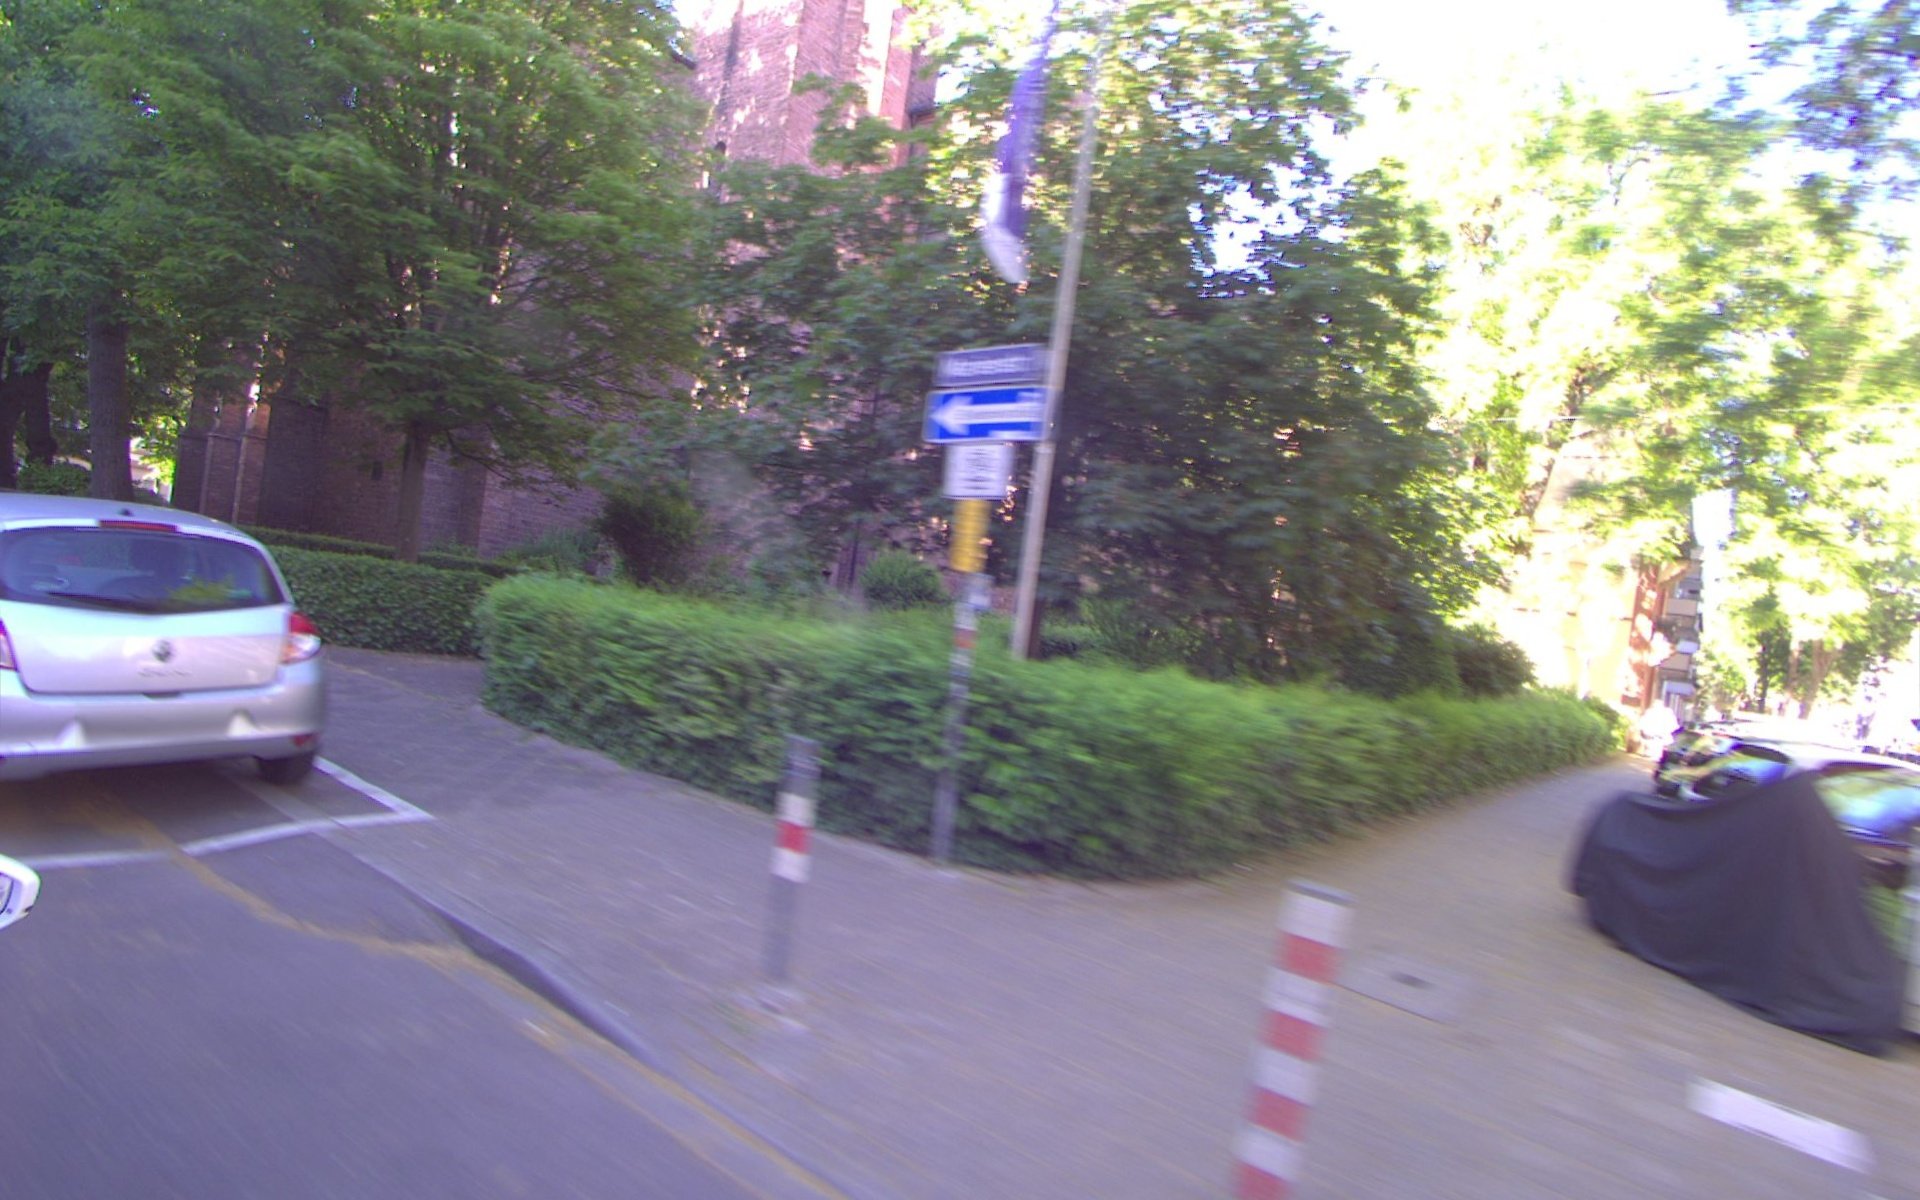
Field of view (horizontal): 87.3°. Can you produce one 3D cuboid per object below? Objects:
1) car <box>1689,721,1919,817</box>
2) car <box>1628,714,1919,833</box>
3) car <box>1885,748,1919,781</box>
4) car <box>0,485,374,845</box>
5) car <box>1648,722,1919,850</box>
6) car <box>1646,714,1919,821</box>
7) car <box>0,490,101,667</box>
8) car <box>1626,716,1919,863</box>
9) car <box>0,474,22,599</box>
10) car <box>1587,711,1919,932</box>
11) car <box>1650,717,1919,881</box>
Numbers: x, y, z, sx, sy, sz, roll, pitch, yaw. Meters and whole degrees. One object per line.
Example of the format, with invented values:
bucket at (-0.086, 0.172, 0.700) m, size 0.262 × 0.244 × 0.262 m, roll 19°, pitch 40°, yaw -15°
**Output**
car at (19.539, 3.848, 22.949) m, size 4.333 × 1.447 × 1.784 m, roll 7°, pitch -2°, yaw 2°
car at (15.233, 3.196, 18.669) m, size 4.333 × 1.447 × 1.784 m, roll 7°, pitch -2°, yaw 2°
car at (53.642, 9.290, 56.714) m, size 1.625 × 1.597 × 3.991 m, roll 4°, pitch -3°, yaw 37°
car at (-5.241, 0.153, 5.874) m, size 3.773 × 1.539 × 1.708 m, roll 7°, pitch 0°, yaw 37°
car at (14.041, 3.055, 16.348) m, size 4.333 × 1.447 × 1.784 m, roll 7°, pitch -2°, yaw 2°
car at (17.159, 3.454, 20.963) m, size 4.333 × 1.447 × 1.784 m, roll 7°, pitch -2°, yaw 2°
car at (-9.618, -0.373, 9.321) m, size 3.941 × 1.454 × 1.621 m, roll 7°, pitch 0°, yaw 37°
car at (12.172, 2.696, 14.084) m, size 4.333 × 1.447 × 1.784 m, roll 7°, pitch -2°, yaw 2°
car at (-13.814, -0.972, 13.204) m, size 4.000 × 1.541 × 1.660 m, roll 7°, pitch 4°, yaw 39°
car at (8.362, 2.053, 8.925) m, size 4.333 × 1.447 × 1.784 m, roll 7°, pitch -2°, yaw 2°
car at (11.108, 2.473, 12.012) m, size 4.333 × 1.447 × 1.784 m, roll 7°, pitch -2°, yaw 2°
